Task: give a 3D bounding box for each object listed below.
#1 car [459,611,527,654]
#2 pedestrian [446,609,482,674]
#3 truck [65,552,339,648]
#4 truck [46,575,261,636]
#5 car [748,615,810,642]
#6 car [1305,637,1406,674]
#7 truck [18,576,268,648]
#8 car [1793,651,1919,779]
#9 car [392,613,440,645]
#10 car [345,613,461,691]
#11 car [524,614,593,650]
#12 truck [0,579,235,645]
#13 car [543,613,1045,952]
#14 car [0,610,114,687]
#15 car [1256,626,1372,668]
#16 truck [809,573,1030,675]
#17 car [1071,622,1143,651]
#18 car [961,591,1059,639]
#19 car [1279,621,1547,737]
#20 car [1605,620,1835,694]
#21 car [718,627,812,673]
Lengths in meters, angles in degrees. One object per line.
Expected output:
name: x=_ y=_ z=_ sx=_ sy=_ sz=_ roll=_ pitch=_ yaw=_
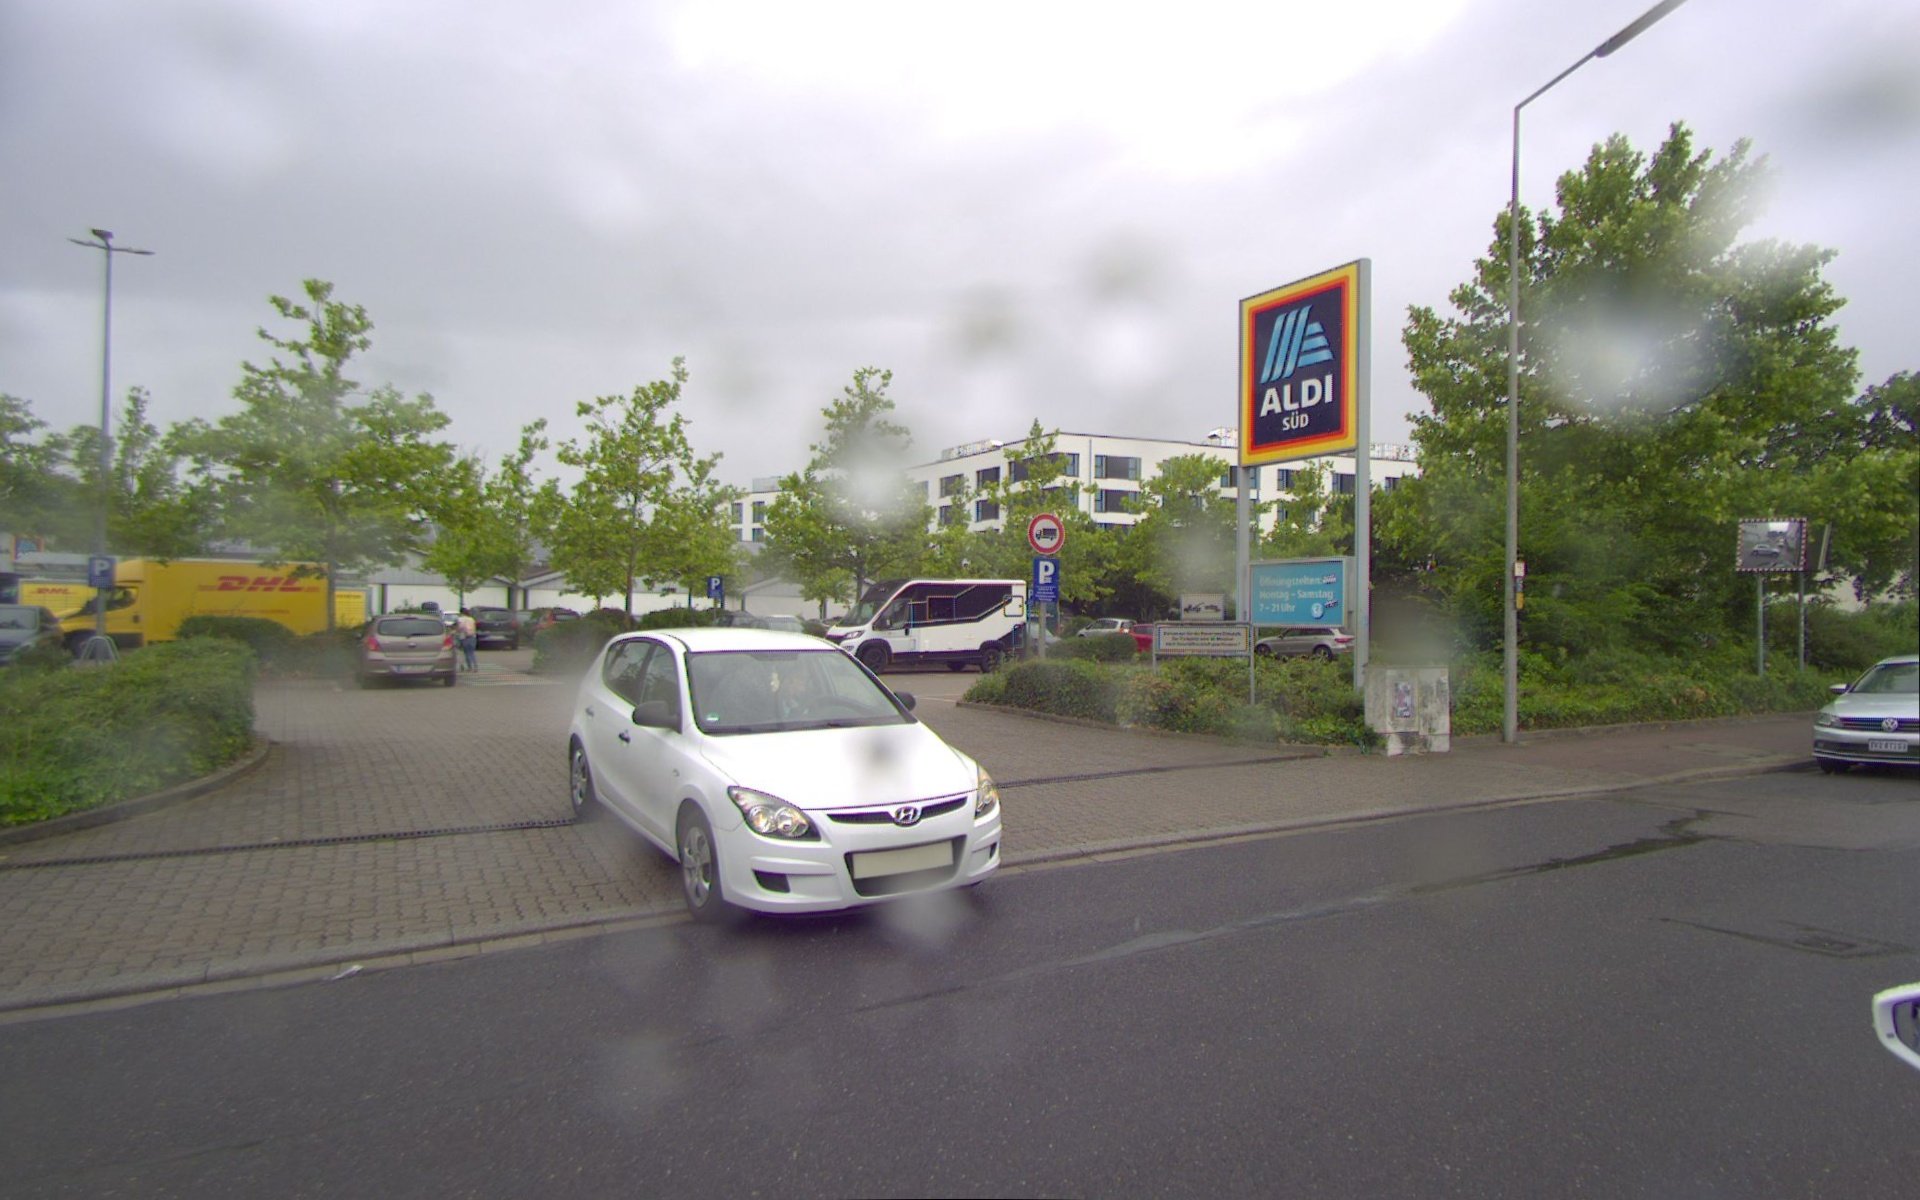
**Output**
car: x=-17.917 y=1.217 z=38.457 sx=1.977 sy=1.542 sz=3.967 roll=1 pitch=-1 yaw=-31
pedestrian: x=-13.015 y=1.080 z=26.350 sx=0.761 sy=1.656 sz=0.771 roll=1 pitch=-1 yaw=-31
truck: x=-22.358 y=0.087 z=30.078 sx=6.325 sy=2.636 sz=1.983 roll=2 pitch=-1 yaw=-32
truck: x=-29.823 y=0.259 z=37.491 sx=6.075 sy=2.087 sz=1.980 roll=2 pitch=-1 yaw=-36
car: x=-9.555 y=1.463 z=52.880 sx=1.977 sy=1.363 sz=3.967 roll=1 pitch=-1 yaw=-31
car: x=18.131 y=2.521 z=46.151 sx=1.977 sy=1.549 sz=3.967 roll=1 pitch=-1 yaw=-31
truck: x=-26.084 y=0.442 z=32.472 sx=6.075 sy=2.122 sz=1.980 roll=2 pitch=-1 yaw=-36
car: x=12.309 y=1.331 z=12.436 sx=4.549 sy=1.385 sz=1.697 roll=1 pitch=-3 yaw=-32
car: x=-27.731 y=1.460 z=51.121 sx=1.977 sy=1.542 sz=3.967 roll=1 pitch=-1 yaw=-31
car: x=-11.943 y=1.047 z=21.415 sx=1.696 sy=1.479 sz=4.162 roll=2 pitch=-2 yaw=-35
car: x=-16.084 y=1.252 z=40.131 sx=1.977 sy=1.363 sz=3.967 roll=1 pitch=-1 yaw=-31
truck: x=-28.431 y=0.466 z=34.158 sx=6.075 sy=2.087 sz=1.980 roll=2 pitch=-1 yaw=-36
car: x=-1.424 y=0.878 z=6.801 sx=1.696 sy=1.479 sz=4.162 roll=2 pitch=-1 yaw=-35
car: x=-19.086 y=0.929 z=20.558 sx=1.976 sy=1.439 sz=3.969 roll=1 pitch=-1 yaw=-30
car: x=13.849 y=1.815 z=39.505 sx=1.977 sy=1.519 sz=3.967 roll=1 pitch=-1 yaw=-31
truck: x=-1.055 y=0.722 z=29.145 sx=6.331 sy=2.692 sz=1.981 roll=2 pitch=-1 yaw=-34
car: x=8.242 y=2.017 z=56.591 sx=1.977 sy=1.549 sz=3.967 roll=1 pitch=-1 yaw=-31
car: x=2.575 y=0.773 z=51.168 sx=4.762 sy=2.327 sz=1.982 roll=2 pitch=-1 yaw=-33
car: x=7.087 y=1.162 z=16.031 sx=1.693 sy=1.479 sz=3.551 roll=2 pitch=0 yaw=-31
car: x=17.836 y=1.276 z=23.748 sx=1.889 sy=1.561 sz=3.965 roll=1 pitch=-1 yaw=-32
car: x=-6.286 y=1.551 z=32.083 sx=1.737 sy=1.320 sz=3.967 roll=1 pitch=-1 yaw=-31
